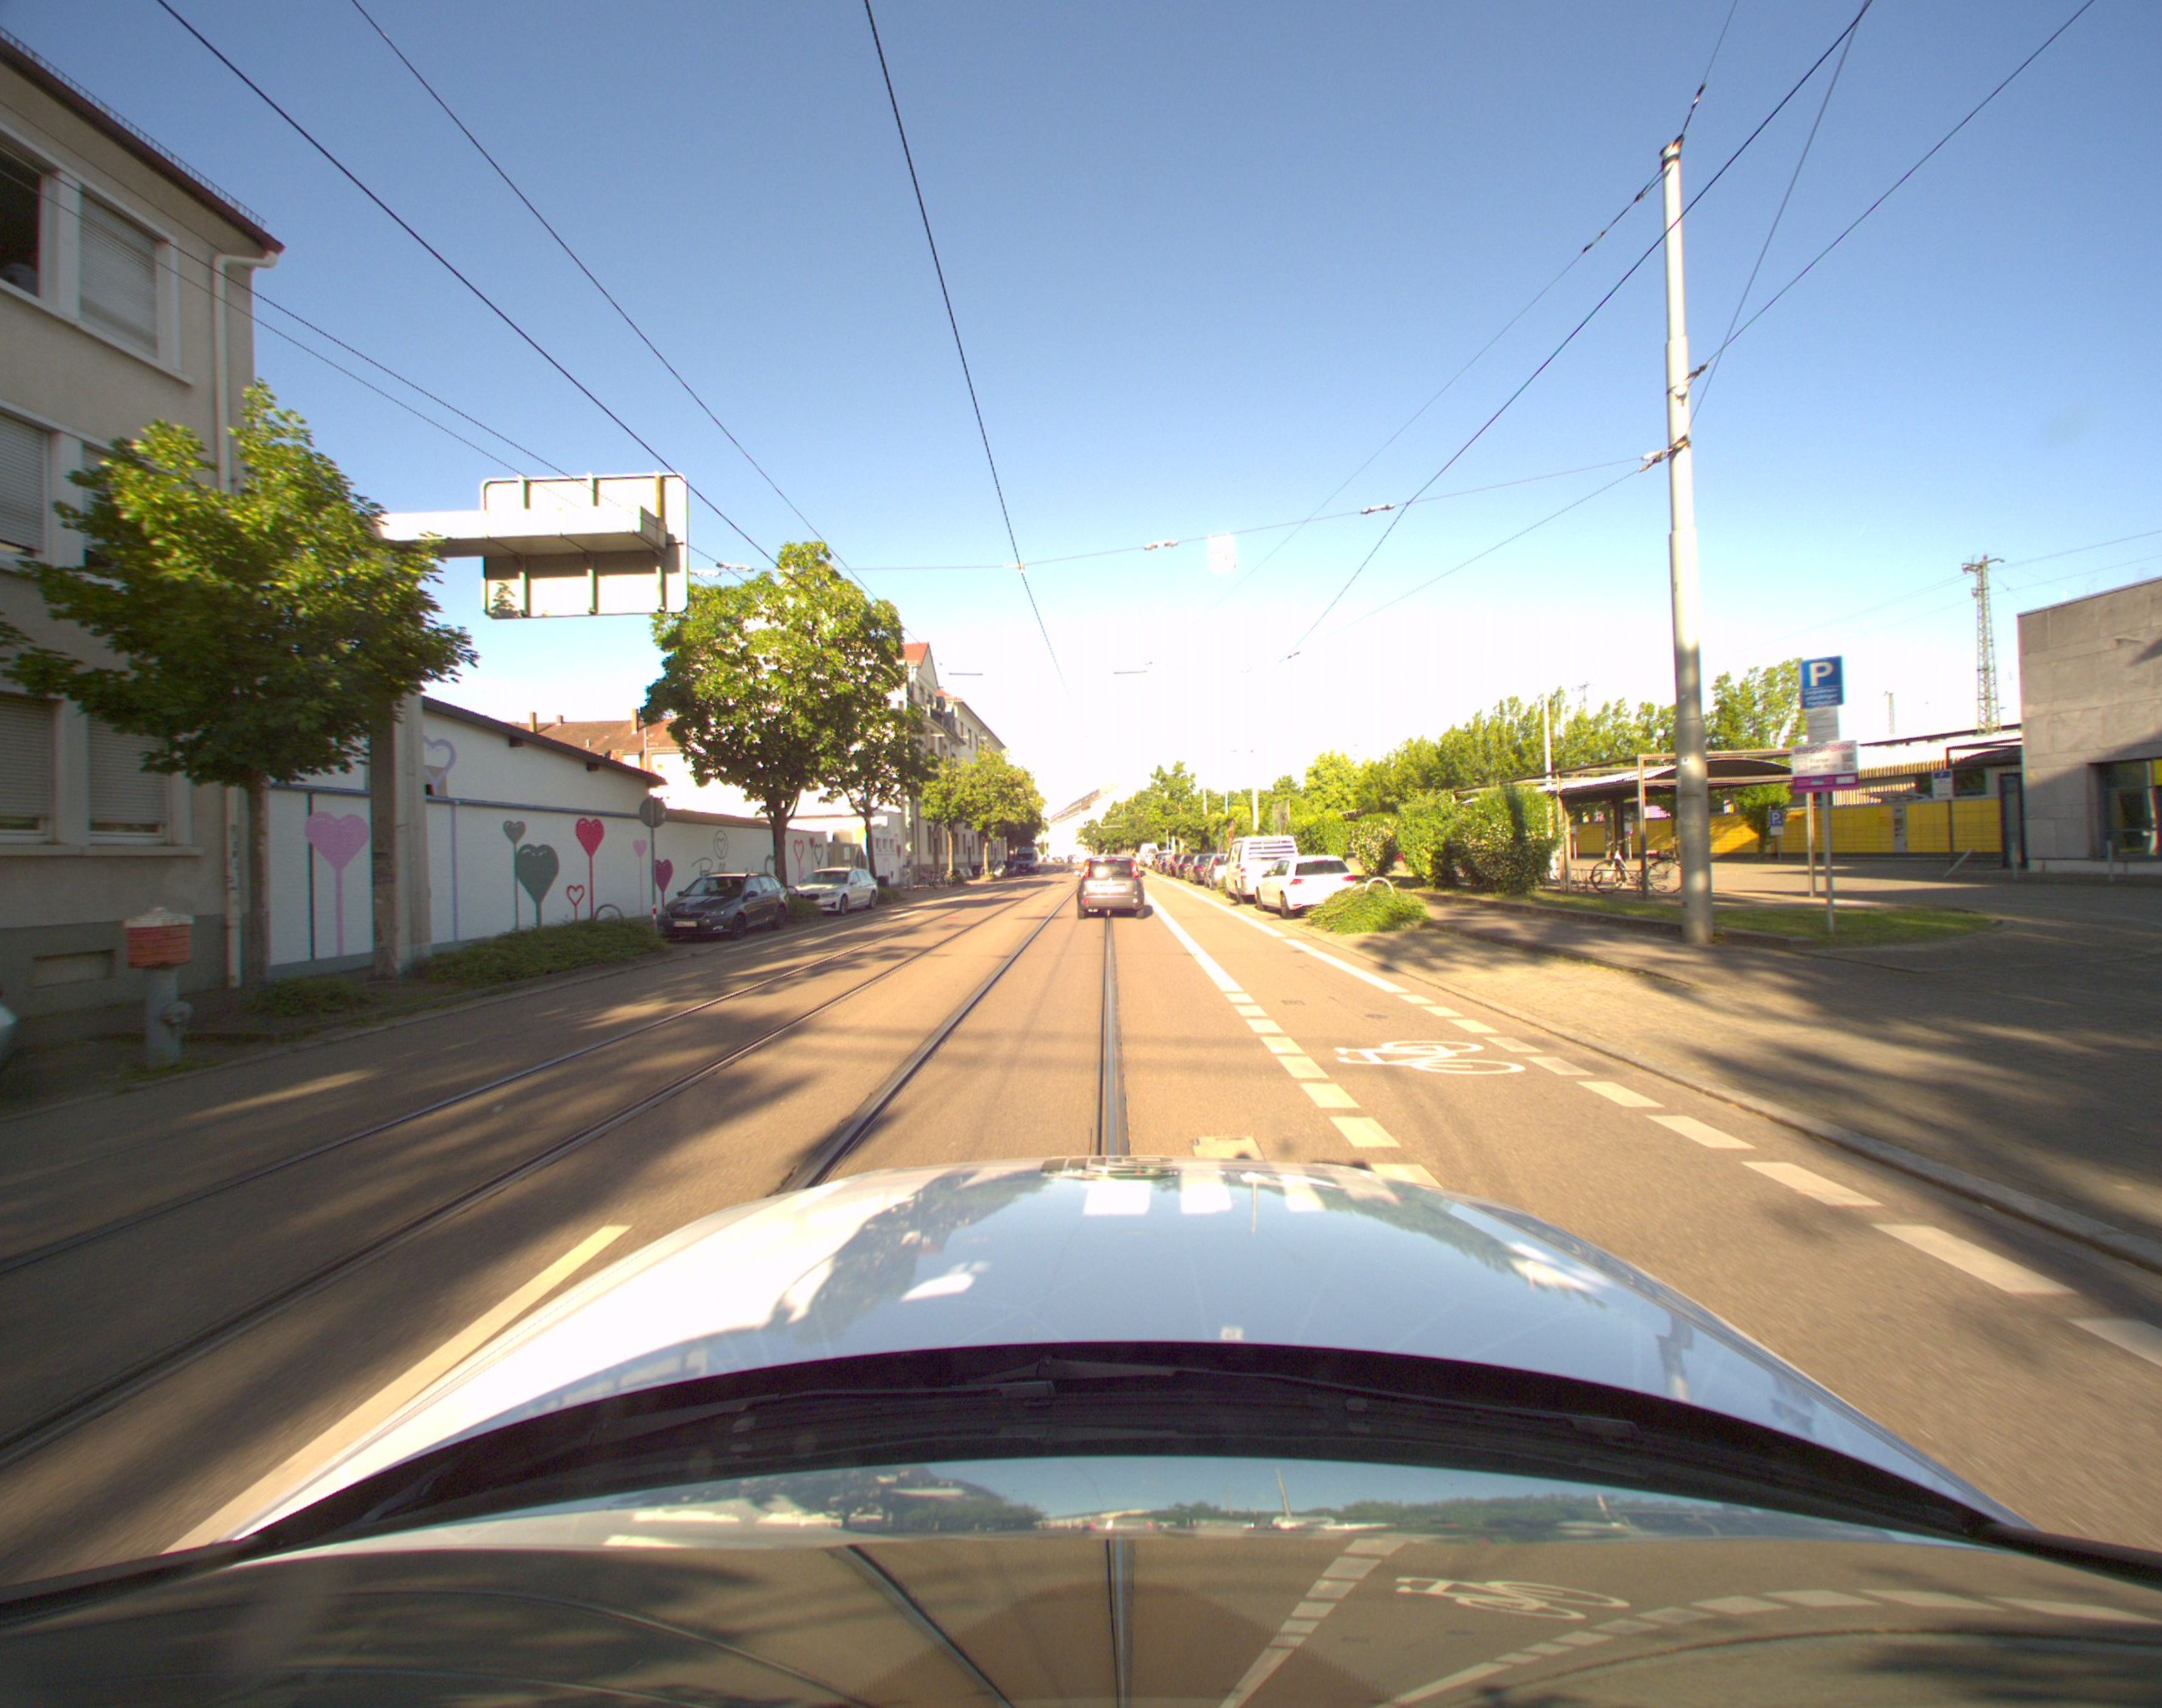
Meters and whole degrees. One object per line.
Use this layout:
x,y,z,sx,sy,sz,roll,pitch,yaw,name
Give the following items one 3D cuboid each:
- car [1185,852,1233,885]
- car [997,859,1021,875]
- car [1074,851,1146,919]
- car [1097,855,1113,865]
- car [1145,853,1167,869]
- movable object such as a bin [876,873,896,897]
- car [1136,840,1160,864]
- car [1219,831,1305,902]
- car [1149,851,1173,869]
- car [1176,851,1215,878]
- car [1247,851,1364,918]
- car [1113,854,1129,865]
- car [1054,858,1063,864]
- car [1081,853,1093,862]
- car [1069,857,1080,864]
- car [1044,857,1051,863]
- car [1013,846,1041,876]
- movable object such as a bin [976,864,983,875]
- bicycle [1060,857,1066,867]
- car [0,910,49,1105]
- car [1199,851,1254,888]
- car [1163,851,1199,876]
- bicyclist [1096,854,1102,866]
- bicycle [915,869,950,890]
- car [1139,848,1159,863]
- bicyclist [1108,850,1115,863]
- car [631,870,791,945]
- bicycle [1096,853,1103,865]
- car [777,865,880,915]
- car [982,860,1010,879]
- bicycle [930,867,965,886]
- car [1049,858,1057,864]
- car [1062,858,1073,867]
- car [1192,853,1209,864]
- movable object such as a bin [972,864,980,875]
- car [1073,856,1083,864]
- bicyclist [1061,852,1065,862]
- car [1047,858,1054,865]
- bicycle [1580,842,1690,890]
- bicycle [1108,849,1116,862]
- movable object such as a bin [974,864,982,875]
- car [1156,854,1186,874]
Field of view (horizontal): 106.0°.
6.123,0.674,39.482,1.817,1.484,4.604,-1,0,3,car
-6.397,1.138,72.616,1.645,1.425,4.192,-1,0,2,car
0.740,0.725,20.881,1.644,1.541,4.236,0,0,2,car
3.904,0.974,133.465,1.689,1.530,3.985,-3,0,-11,car
7.536,0.711,81.948,1.723,1.512,4.250,-1,0,-1,car
-8.279,1.325,34.563,0.579,0.960,0.702,3,-1,2,movable object such as a bin
7.994,-0.178,97.838,2.173,2.665,6.090,-4,-1,0,car
5.668,0.370,26.155,1.846,1.991,5.247,-2,0,4,car
7.555,0.585,77.162,1.723,1.604,4.340,-1,0,-1,car
6.659,0.596,47.869,1.817,1.452,4.644,-2,0,2,car
5.541,0.704,20.705,1.670,1.418,4.502,-3,0,0,car
5.776,0.822,116.962,1.686,1.530,3.993,-3,0,-5,car
-5.479,1.641,196.099,1.583,1.405,3.366,-5,0,-9,car
1.076,0.568,148.539,1.634,1.508,3.388,-4,0,-8,car
-1.373,1.335,171.113,1.655,1.571,3.864,-1,-1,-9,car
-9.233,1.684,221.856,1.582,1.599,3.366,-1,-1,-9,car
-5.278,0.652,80.453,2.009,2.826,6.036,-1,-1,3,car
-9.153,1.374,73.452,0.594,0.934,0.568,-2,0,-1,movable object such as a bin
-3.821,1.721,170.978,0.741,2.014,2.803,-1,-1,-9,bicycle
-9.035,1.145,4.198,1.866,1.429,4.295,-1,0,2,car
6.136,0.647,34.735,1.865,1.473,4.079,-1,0,4,car
6.561,0.638,53.931,1.818,1.493,3.814,-4,-1,0,car
2.649,0.871,118.525,0.699,1.759,0.755,-1,-1,-9,bicyclist
-7.809,1.323,42.829,0.661,1.040,1.798,-1,-1,39,bicycle
7.557,0.143,91.013,1.904,1.530,4.601,-2,0,1,car
4.135,0.346,110.177,0.699,1.759,0.755,-1,-1,-9,bicyclist
-8.493,1.167,19.141,1.767,1.486,4.304,-1,0,0,car
2.673,0.729,118.486,0.675,1.747,2.151,-1,-1,-9,bicycle
-8.296,1.135,27.242,1.857,1.490,4.663,-1,0,2,car
-6.889,1.264,66.303,1.645,1.491,4.002,-1,0,2,car
-7.620,1.293,46.474,1.998,1.040,0.526,0,-1,-44,bicycle
-7.177,1.851,208.688,1.582,1.405,3.366,-1,-1,-9,car
-3.038,1.802,181.755,1.655,1.944,4.650,-1,-1,-9,car
11.875,0.432,81.093,1.304,1.033,3.057,-1,0,1,car
-9.199,1.360,71.656,0.594,0.934,0.568,-2,0,-1,movable object such as a bin
-0.625,1.315,166.905,1.655,1.571,3.488,-1,-1,-9,car
-3.821,0.621,170.983,0.715,2.014,0.829,-1,-1,-9,bicyclist
-8.030,1.979,215.056,1.582,1.599,3.366,-1,-1,-9,car
12.010,0.269,17.700,1.883,1.008,0.579,-1,-1,14,bicycle
4.189,0.183,110.058,0.675,1.747,2.151,-1,-1,-9,bicycle
-9.132,1.364,72.249,0.594,0.934,0.568,-2,0,-1,movable object such as a bin
6.911,0.771,62.879,1.723,1.464,4.339,-1,0,-1,car
